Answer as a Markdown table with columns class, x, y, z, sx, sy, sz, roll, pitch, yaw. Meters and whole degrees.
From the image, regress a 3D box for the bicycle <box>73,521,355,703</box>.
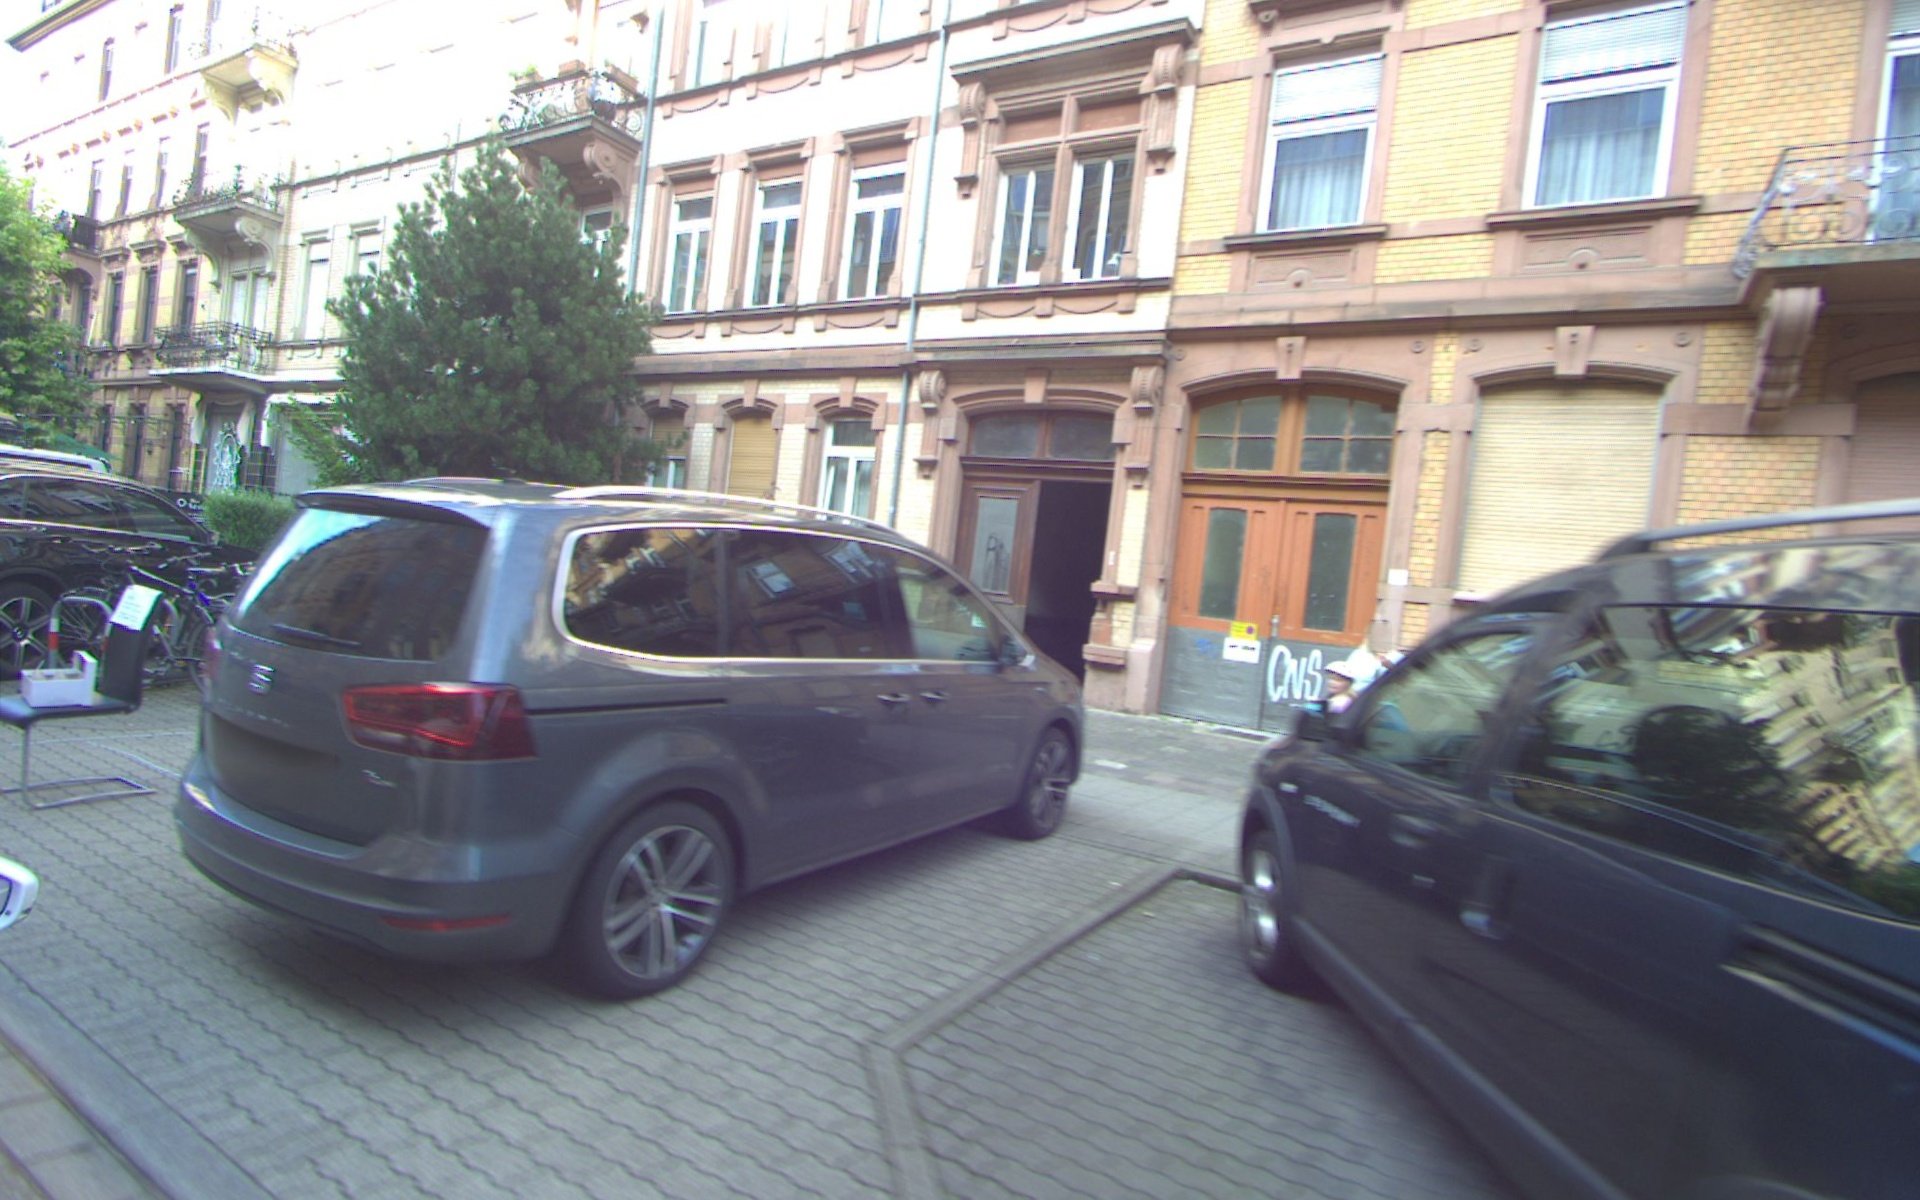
| class | x | y | z | sx | sy | sz | roll | pitch | yaw |
| --- | --- | --- | --- | --- | --- | --- | --- | --- | --- |
| bicycle | -5.840 | 0.094 | 7.907 | 1.833 | 1.198 | 0.405 | 6 | 2 | 0 |

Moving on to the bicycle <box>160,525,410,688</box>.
| class | x | y | z | sx | sy | sz | roll | pitch | yaw |
| --- | --- | --- | --- | --- | --- | --- | --- | --- | --- |
| bicycle | -5.891 | 0.054 | 8.811 | 1.833 | 1.198 | 0.405 | 6 | 2 | 0 |

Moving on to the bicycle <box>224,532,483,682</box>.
| class | x | y | z | sx | sy | sz | roll | pitch | yaw |
| --- | --- | --- | --- | --- | --- | --- | --- | --- | --- |
| bicycle | -5.728 | 0.064 | 9.574 | 1.899 | 1.161 | 0.810 | 6 | 2 | 2 |

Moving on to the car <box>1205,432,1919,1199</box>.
| class | x | y | z | sx | sy | sz | roll | pitch | yaw |
| --- | --- | --- | --- | --- | --- | --- | --- | --- | --- |
| car | 2.132 | 0.738 | 2.705 | 1.722 | 1.847 | 4.400 | 5 | 2 | 0 |

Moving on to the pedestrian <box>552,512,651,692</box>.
| class | x | y | z | sx | sy | sz | roll | pitch | yaw |
| --- | --- | --- | --- | --- | --- | --- | --- | --- | --- |
| pedestrian | -3.684 | 0.025 | 10.386 | 0.688 | 1.715 | 0.647 | 7 | 0 | -12 |

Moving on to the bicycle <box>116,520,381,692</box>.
| class | x | y | z | sx | sy | sz | roll | pitch | yaw |
| --- | --- | --- | --- | --- | --- | --- | --- | --- | --- |
| bicycle | -5.889 | 0.049 | 8.357 | 1.833 | 1.198 | 0.405 | 6 | 2 | 0 |

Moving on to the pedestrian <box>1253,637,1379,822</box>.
| class | x | y | z | sx | sy | sz | roll | pitch | yaw |
| --- | --- | --- | --- | --- | --- | --- | --- | --- | --- |
| pedestrian | 2.669 | 0.936 | 7.527 | 0.662 | 1.236 | 0.600 | 7 | 4 | 31 |

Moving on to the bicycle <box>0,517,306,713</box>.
| class | x | y | z | sx | sy | sz | roll | pitch | yaw |
| --- | --- | --- | --- | --- | --- | --- | --- | --- | --- |
| bicycle | -5.902 | 0.107 | 7.358 | 1.882 | 1.198 | 0.405 | 6 | 2 | 0 |

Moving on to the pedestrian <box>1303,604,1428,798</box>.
| class | x | y | z | sx | sy | sz | roll | pitch | yaw |
| --- | --- | --- | --- | --- | --- | --- | --- | --- | --- |
| pedestrian | 3.570 | 0.847 | 8.830 | 0.798 | 1.516 | 0.929 | 7 | 2 | 25 |

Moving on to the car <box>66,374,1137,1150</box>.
| class | x | y | z | sx | sy | sz | roll | pitch | yaw |
| --- | --- | --- | --- | --- | --- | --- | --- | --- | --- |
| car | -0.925 | 0.348 | 4.804 | 1.779 | 1.809 | 4.637 | 9 | 4 | 30 |

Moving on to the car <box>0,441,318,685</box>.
| class | x | y | z | sx | sy | sz | roll | pitch | yaw |
| --- | --- | --- | --- | --- | --- | --- | --- | --- | --- |
| car | -7.939 | -0.369 | 8.650 | 1.964 | 1.753 | 4.456 | 7 | -1 | -3 |

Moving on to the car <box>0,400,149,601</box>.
| class | x | y | z | sx | sy | sz | roll | pitch | yaw |
| --- | --- | --- | --- | --- | --- | --- | --- | --- | --- |
| car | -12.598 | -1.293 | 11.813 | 1.883 | 2.436 | 5.156 | 6 | 1 | -1 |

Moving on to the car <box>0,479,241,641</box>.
| class | x | y | z | sx | sy | sz | roll | pitch | yaw |
| --- | --- | --- | --- | --- | --- | --- | --- | --- | --- |
| car | -10.228 | -0.496 | 10.883 | 1.840 | 1.568 | 4.236 | 8 | -1 | -3 |
